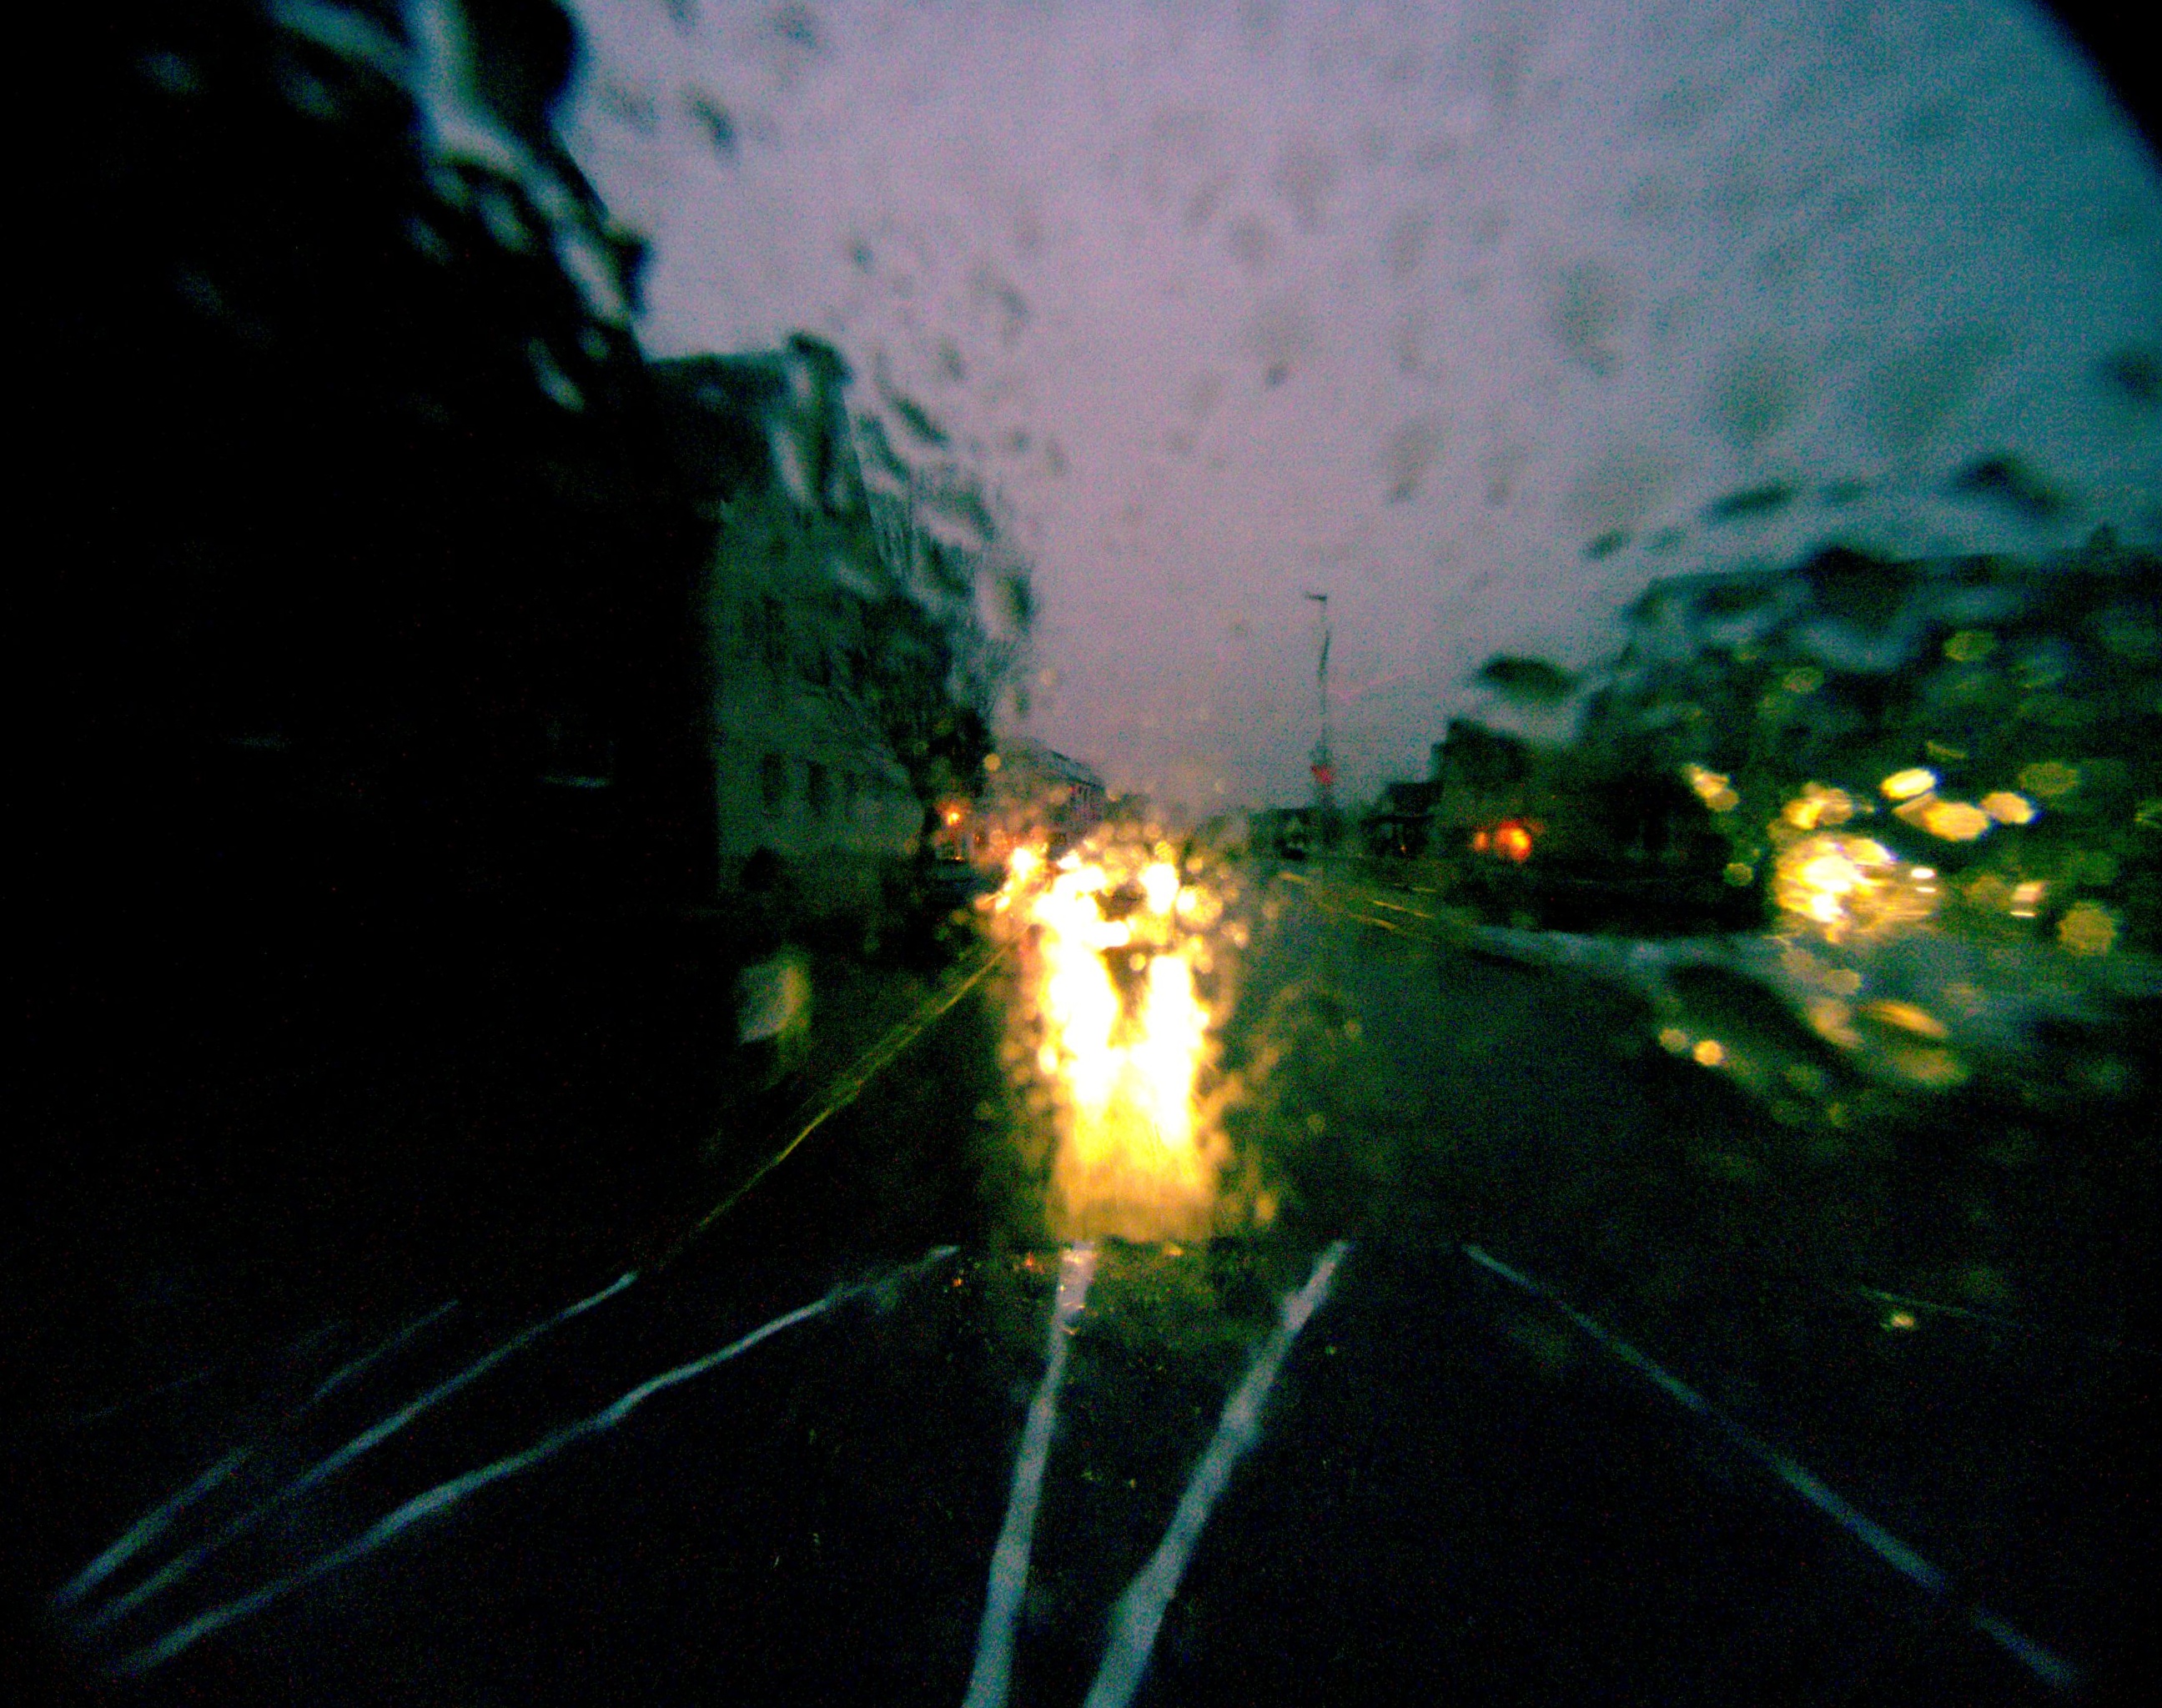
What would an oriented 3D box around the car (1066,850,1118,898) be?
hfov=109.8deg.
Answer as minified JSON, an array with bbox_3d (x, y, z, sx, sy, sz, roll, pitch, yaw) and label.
[{"bbox_3d":[0.442,0.703,28.776,1.762,1.471,4.018,-2,2,2],"label":"car"}]

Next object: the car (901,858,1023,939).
[{"bbox_3d":[-2.461,0.869,16.727,1.732,1.456,4.199,2,0,4],"label":"car"}]

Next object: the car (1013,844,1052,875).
[{"bbox_3d":[-3.160,0.296,49.045,1.827,1.736,3.994,-3,3,-13],"label":"car"}]

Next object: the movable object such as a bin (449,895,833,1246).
[{"bbox_3d":[-2.172,0.983,4.043,1.131,1.412,1.418,2,0,4],"label":"movable object such as a bin"}]

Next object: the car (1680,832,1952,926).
[{"bbox_3d":[15.255,0.441,16.211,1.758,1.691,4.567,1,0,7],"label":"car"}]

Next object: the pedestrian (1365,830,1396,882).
[{"bbox_3d":[10.325,0.055,26.219,0.749,1.732,0.687,-2,1,2],"label":"pedestrian"}]

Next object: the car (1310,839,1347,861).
[{"bbox_3d":[25.631,-0.462,78.880,1.926,2.003,3.966,-3,3,-12],"label":"car"}]

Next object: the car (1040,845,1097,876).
[{"bbox_3d":[-0.806,0.298,43.562,2.030,1.471,4.549,-3,3,-17],"label":"car"}]

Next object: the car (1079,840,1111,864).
[{"bbox_3d":[1.008,-0.207,54.998,2.172,1.469,3.998,-2,3,1],"label":"car"}]

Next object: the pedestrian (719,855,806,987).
[{"bbox_3d":[-4.249,0.863,10.208,0.530,1.644,0.954,-2,3,12],"label":"pedestrian"}]

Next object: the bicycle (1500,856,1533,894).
[{"bbox_3d":[12.643,0.588,22.086,0.470,1.004,1.741,0,1,18],"label":"bicycle"}]

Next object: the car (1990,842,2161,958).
[{"bbox_3d":[14.603,0.585,9.234,1.806,1.474,4.573,0,0,4],"label":"car"}]

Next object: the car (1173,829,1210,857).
[{"bbox_3d":[8.828,-0.883,60.266,2.055,1.976,4.541,-1,3,19],"label":"car"}]

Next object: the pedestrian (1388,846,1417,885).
[{"bbox_3d":[10.742,0.382,25.404,0.687,1.264,0.750,-2,1,6],"label":"pedestrian"}]

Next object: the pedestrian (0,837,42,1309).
[{"bbox_3d":[-4.353,0.789,2.418,0.713,1.705,1.035,0,1,15],"label":"pedestrian"}]

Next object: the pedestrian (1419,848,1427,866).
[{"bbox_3d":[31.802,0.263,70.647,0.582,1.602,0.500,-2,3,6],"label":"pedestrian"}]

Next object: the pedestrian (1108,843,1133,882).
[{"bbox_3d":[1.862,0.390,36.038,0.789,1.752,0.769,1,5,45],"label":"pedestrian"}]

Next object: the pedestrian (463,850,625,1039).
[{"bbox_3d":[-5.110,0.800,7.300,0.748,1.669,1.052,1,1,8],"label":"pedestrian"}]

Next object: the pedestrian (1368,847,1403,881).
[{"bbox_3d":[11.017,0.363,27.539,0.990,1.151,0.903,-2,-1,11],"label":"pedestrian"}]

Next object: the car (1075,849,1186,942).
[{"bbox_3d":[0.886,0.736,15.765,1.958,1.576,4.109,-2,1,0],"label":"car"}]

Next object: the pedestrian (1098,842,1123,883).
[{"bbox_3d":[1.384,0.395,35.413,0.789,1.856,0.711,1,5,45],"label":"pedestrian"}]

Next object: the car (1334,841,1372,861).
[{"bbox_3d":[28.305,-0.320,79.165,1.936,1.871,3.866,-3,3,-12],"label":"car"}]

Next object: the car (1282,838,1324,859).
[{"bbox_3d":[22.897,-0.549,78.568,1.974,1.984,3.990,-4,3,-25],"label":"car"}]

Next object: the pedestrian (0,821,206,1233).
[{"bbox_3d":[-4.937,0.758,3.576,0.530,1.790,0.865,-2,1,11],"label":"pedestrian"}]
